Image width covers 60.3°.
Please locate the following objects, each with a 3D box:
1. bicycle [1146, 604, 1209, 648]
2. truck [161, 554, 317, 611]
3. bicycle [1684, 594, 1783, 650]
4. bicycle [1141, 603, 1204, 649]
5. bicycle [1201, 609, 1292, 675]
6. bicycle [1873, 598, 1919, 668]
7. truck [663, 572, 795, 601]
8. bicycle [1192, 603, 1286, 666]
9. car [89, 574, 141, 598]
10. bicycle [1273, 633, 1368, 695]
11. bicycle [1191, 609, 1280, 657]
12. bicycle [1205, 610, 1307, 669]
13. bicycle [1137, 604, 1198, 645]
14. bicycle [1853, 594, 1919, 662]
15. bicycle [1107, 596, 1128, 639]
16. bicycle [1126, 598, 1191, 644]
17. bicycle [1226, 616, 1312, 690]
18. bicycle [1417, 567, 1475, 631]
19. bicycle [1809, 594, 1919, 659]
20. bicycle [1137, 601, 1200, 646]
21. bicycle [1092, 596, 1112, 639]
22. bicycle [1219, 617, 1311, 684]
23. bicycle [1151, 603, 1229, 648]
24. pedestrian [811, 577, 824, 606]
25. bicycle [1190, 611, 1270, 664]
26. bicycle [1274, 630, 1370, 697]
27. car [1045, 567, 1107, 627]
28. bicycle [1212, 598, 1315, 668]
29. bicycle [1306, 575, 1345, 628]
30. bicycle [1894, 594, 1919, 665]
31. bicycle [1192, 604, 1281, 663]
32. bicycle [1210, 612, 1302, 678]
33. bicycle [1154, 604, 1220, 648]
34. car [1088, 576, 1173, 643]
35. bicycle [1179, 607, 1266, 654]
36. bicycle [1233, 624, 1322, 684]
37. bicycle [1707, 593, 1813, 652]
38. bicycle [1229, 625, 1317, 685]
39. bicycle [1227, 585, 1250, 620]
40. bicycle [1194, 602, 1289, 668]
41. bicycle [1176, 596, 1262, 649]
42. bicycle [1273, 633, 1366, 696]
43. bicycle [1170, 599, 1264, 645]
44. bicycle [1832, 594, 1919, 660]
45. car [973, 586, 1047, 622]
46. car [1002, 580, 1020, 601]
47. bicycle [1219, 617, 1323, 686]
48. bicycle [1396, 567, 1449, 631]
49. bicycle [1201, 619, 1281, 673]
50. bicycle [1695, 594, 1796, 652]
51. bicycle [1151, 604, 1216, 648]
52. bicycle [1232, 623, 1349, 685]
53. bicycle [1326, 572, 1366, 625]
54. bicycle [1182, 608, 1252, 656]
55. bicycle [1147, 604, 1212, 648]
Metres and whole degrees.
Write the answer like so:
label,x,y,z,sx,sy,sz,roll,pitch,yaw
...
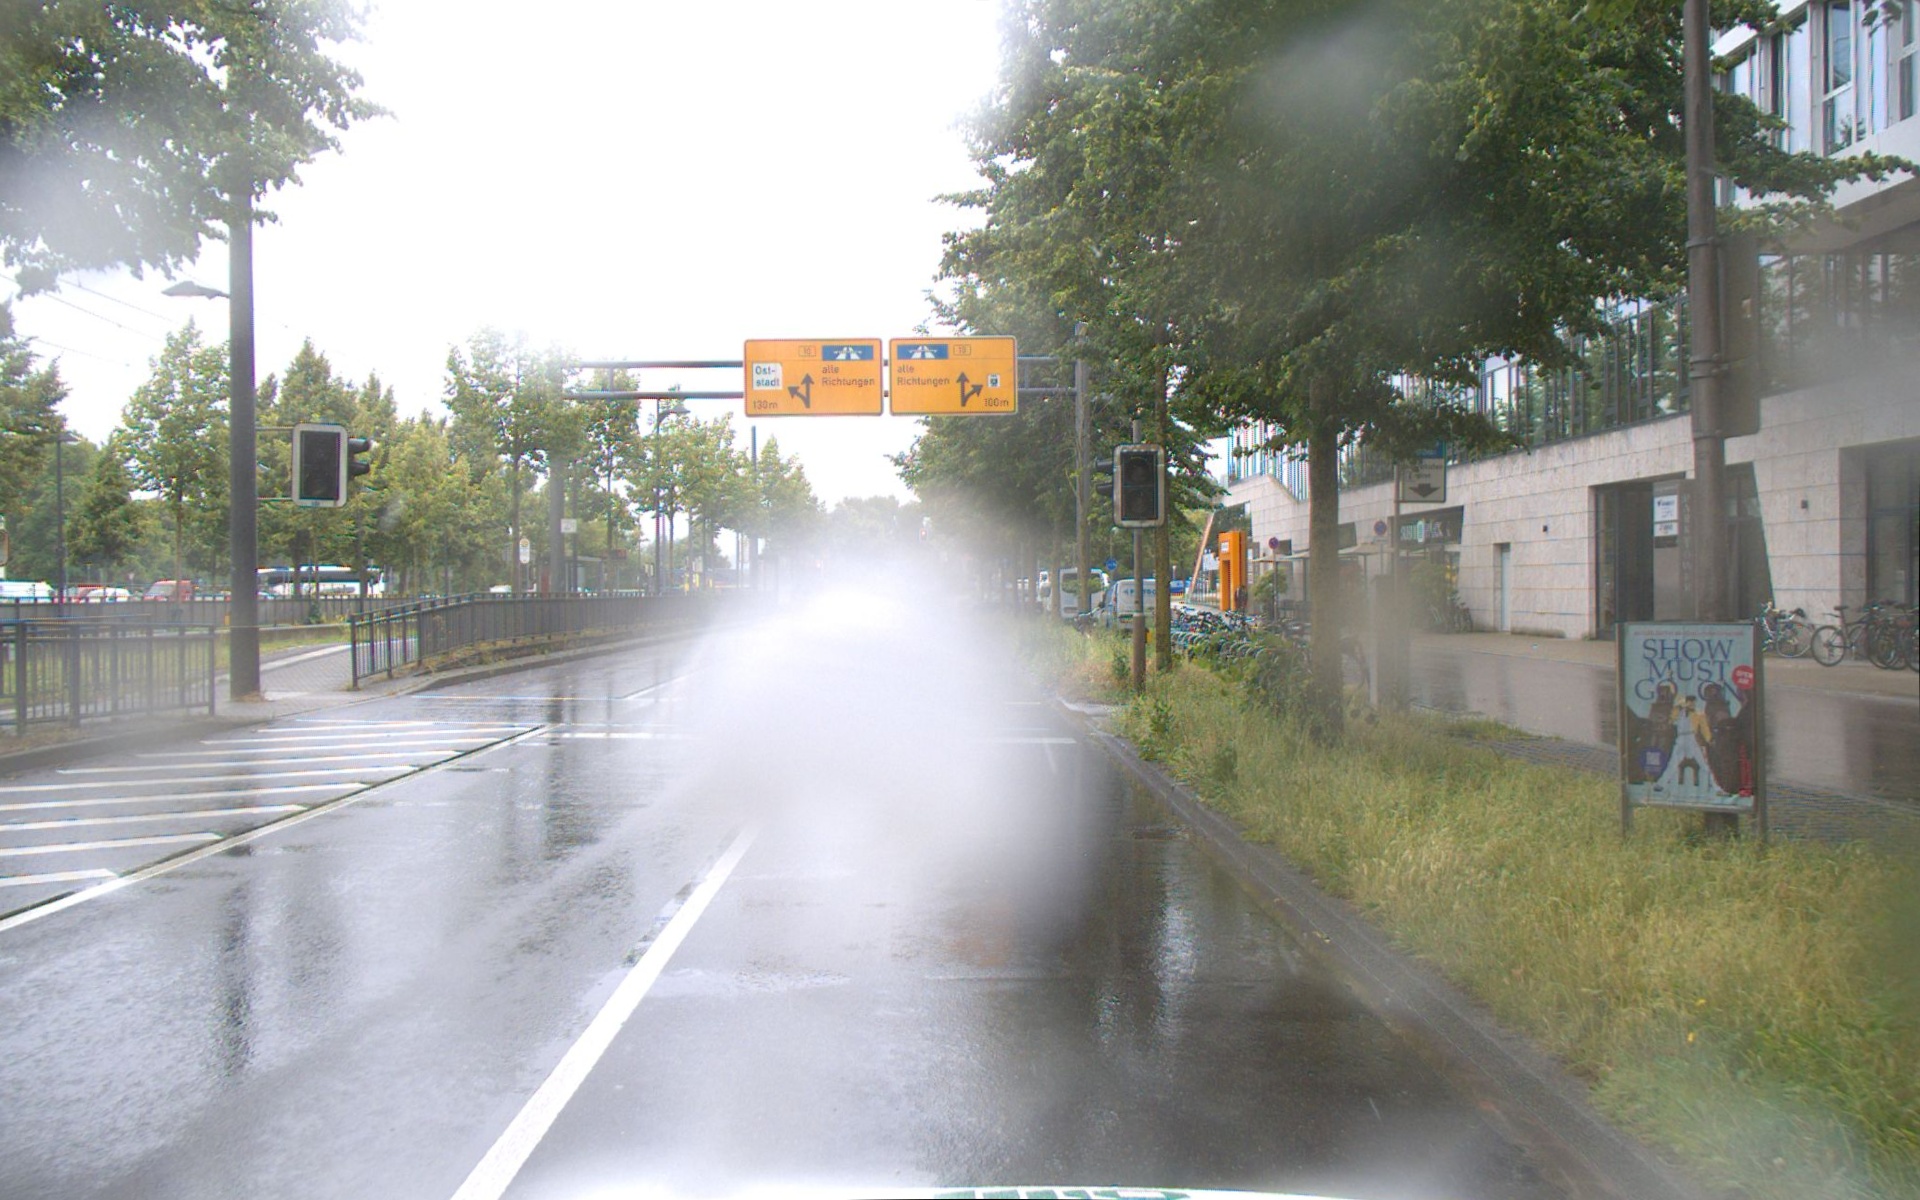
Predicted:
label,x,y,z,sx,sy,sz,roll,pitch,yaw
bicycle,4.467,0.533,33.970,1.262,0.864,0.275,-1,0,-2
truck,-63.423,-1.622,145.713,12.310,4.672,3.372,-2,3,-28
bicycle,14.577,0.414,31.179,1.659,1.046,0.423,0,0,1
bicycle,4.407,0.529,34.323,1.262,0.935,0.275,-1,0,-2
bicycle,4.637,0.682,26.786,1.422,1.035,0.349,-1,0,3
bicycle,14.964,0.494,25.214,1.769,1.046,0.541,0,0,1
truck,-26.481,-1.537,189.847,14.667,3.202,3.495,0,0,-25
bicycle,4.856,0.597,28.842,1.581,1.072,0.296,-1,0,-4
car,-66.431,-1.101,130.059,3.487,1.768,1.693,-2,3,-25
bicycle,5.000,0.891,22.974,1.261,0.846,0.275,-1,0,10
bicycle,5.057,0.606,30.408,1.582,0.864,0.275,1,0,-2
bicycle,4.996,0.662,27.906,1.674,0.964,0.313,1,0,-8
bicycle,4.476,0.527,35.673,1.262,0.864,0.275,-1,0,-2
bicycle,14.979,0.434,25.821,1.769,1.046,0.541,0,0,1
bicycle,3.220,0.347,33.828,0.269,0.864,1.292,-1,0,-1
bicycle,4.472,0.468,37.275,1.430,0.997,0.311,-1,0,-2
bicycle,4.693,0.807,25.170,1.261,1.093,0.275,-1,0,7
bicycle,14.490,-0.069,49.389,0.756,1.752,3.120,-1,3,-1
bicycle,14.999,0.424,27.226,1.769,1.046,0.541,0,0,1
bicycle,4.446,0.497,35.323,1.299,0.926,0.275,-1,0,-2
bicycle,2.903,0.350,33.779,0.269,0.864,1.292,-1,0,-1
bicycle,4.791,0.787,26.023,1.408,1.035,0.349,0,0,5
bicycle,4.529,0.506,32.587,1.492,0.864,0.277,-1,0,-2
pedestrian,-10.072,-0.597,116.968,0.683,2.048,0.656,0,2,12
bicycle,4.859,0.674,29.761,1.382,0.913,0.275,-1,0,-4
bicycle,4.941,0.867,22.595,1.261,0.889,0.301,-1,0,10
car,4.597,-0.146,66.302,2.078,2.313,4.563,-1,0,-1
bicycle,5.063,0.546,27.599,1.674,1.122,0.283,-1,0,-8
bicycle,13.098,0.036,59.335,0.631,1.752,3.120,-1,3,-1
bicycle,14.944,0.430,24.605,1.769,1.046,0.541,0,0,1
bicycle,5.029,0.603,30.101,1.582,1.040,0.275,1,0,-2
bicycle,4.723,0.713,26.421,1.408,1.035,0.349,0,0,3
bicycle,4.513,0.514,32.890,1.262,0.864,0.275,-1,0,-2
car,4.865,0.241,47.801,1.867,1.822,4.687,-1,0,-1
bicycle,4.925,0.578,31.077,1.582,0.864,0.275,1,0,-2
bicycle,4.684,0.792,24.432,1.261,0.864,0.275,-1,0,3
bicycle,14.577,0.410,30.149,1.714,1.046,0.412,0,0,1
bicycle,4.681,0.819,24.745,1.261,0.873,0.275,0,0,3
bicycle,13.644,0.115,81.036,0.652,1.561,2.764,-1,3,-1
bicycle,4.868,0.601,28.578,1.581,1.116,0.296,-1,0,-4
bicycle,4.988,0.433,31.864,1.610,1.006,0.320,-1,0,-2
bicycle,5.049,0.902,23.263,1.261,0.864,0.275,-1,0,10
bicycle,4.992,0.420,32.179,1.780,0.864,0.275,-1,0,-2
bicycle,14.986,0.424,26.471,1.769,1.046,0.541,0,0,1
car,2.483,0.184,83.404,1.799,1.571,3.955,-2,3,-33
car,4.671,-0.879,152.267,1.589,1.729,3.458,0,3,2
bicycle,4.804,0.793,25.563,1.540,1.035,0.408,-1,0,5
bicycle,13.728,-0.052,49.163,0.631,1.752,3.120,-1,3,-1
bicycle,4.598,0.749,27.096,1.261,0.864,0.275,-1,0,5
bicycle,14.576,0.426,30.693,1.659,1.046,0.423,0,0,1
bicycle,4.500,0.523,33.253,1.262,0.864,0.275,-1,0,-2
bicycle,4.811,0.785,24.098,1.637,0.864,0.275,-1,0,3
bicycle,13.833,-0.063,59.318,0.631,1.752,3.120,-1,3,-1
bicycle,4.776,0.592,30.740,1.262,0.864,0.275,-1,0,-2
bicycle,4.467,0.533,33.608,1.262,0.864,0.354,-1,0,-2
